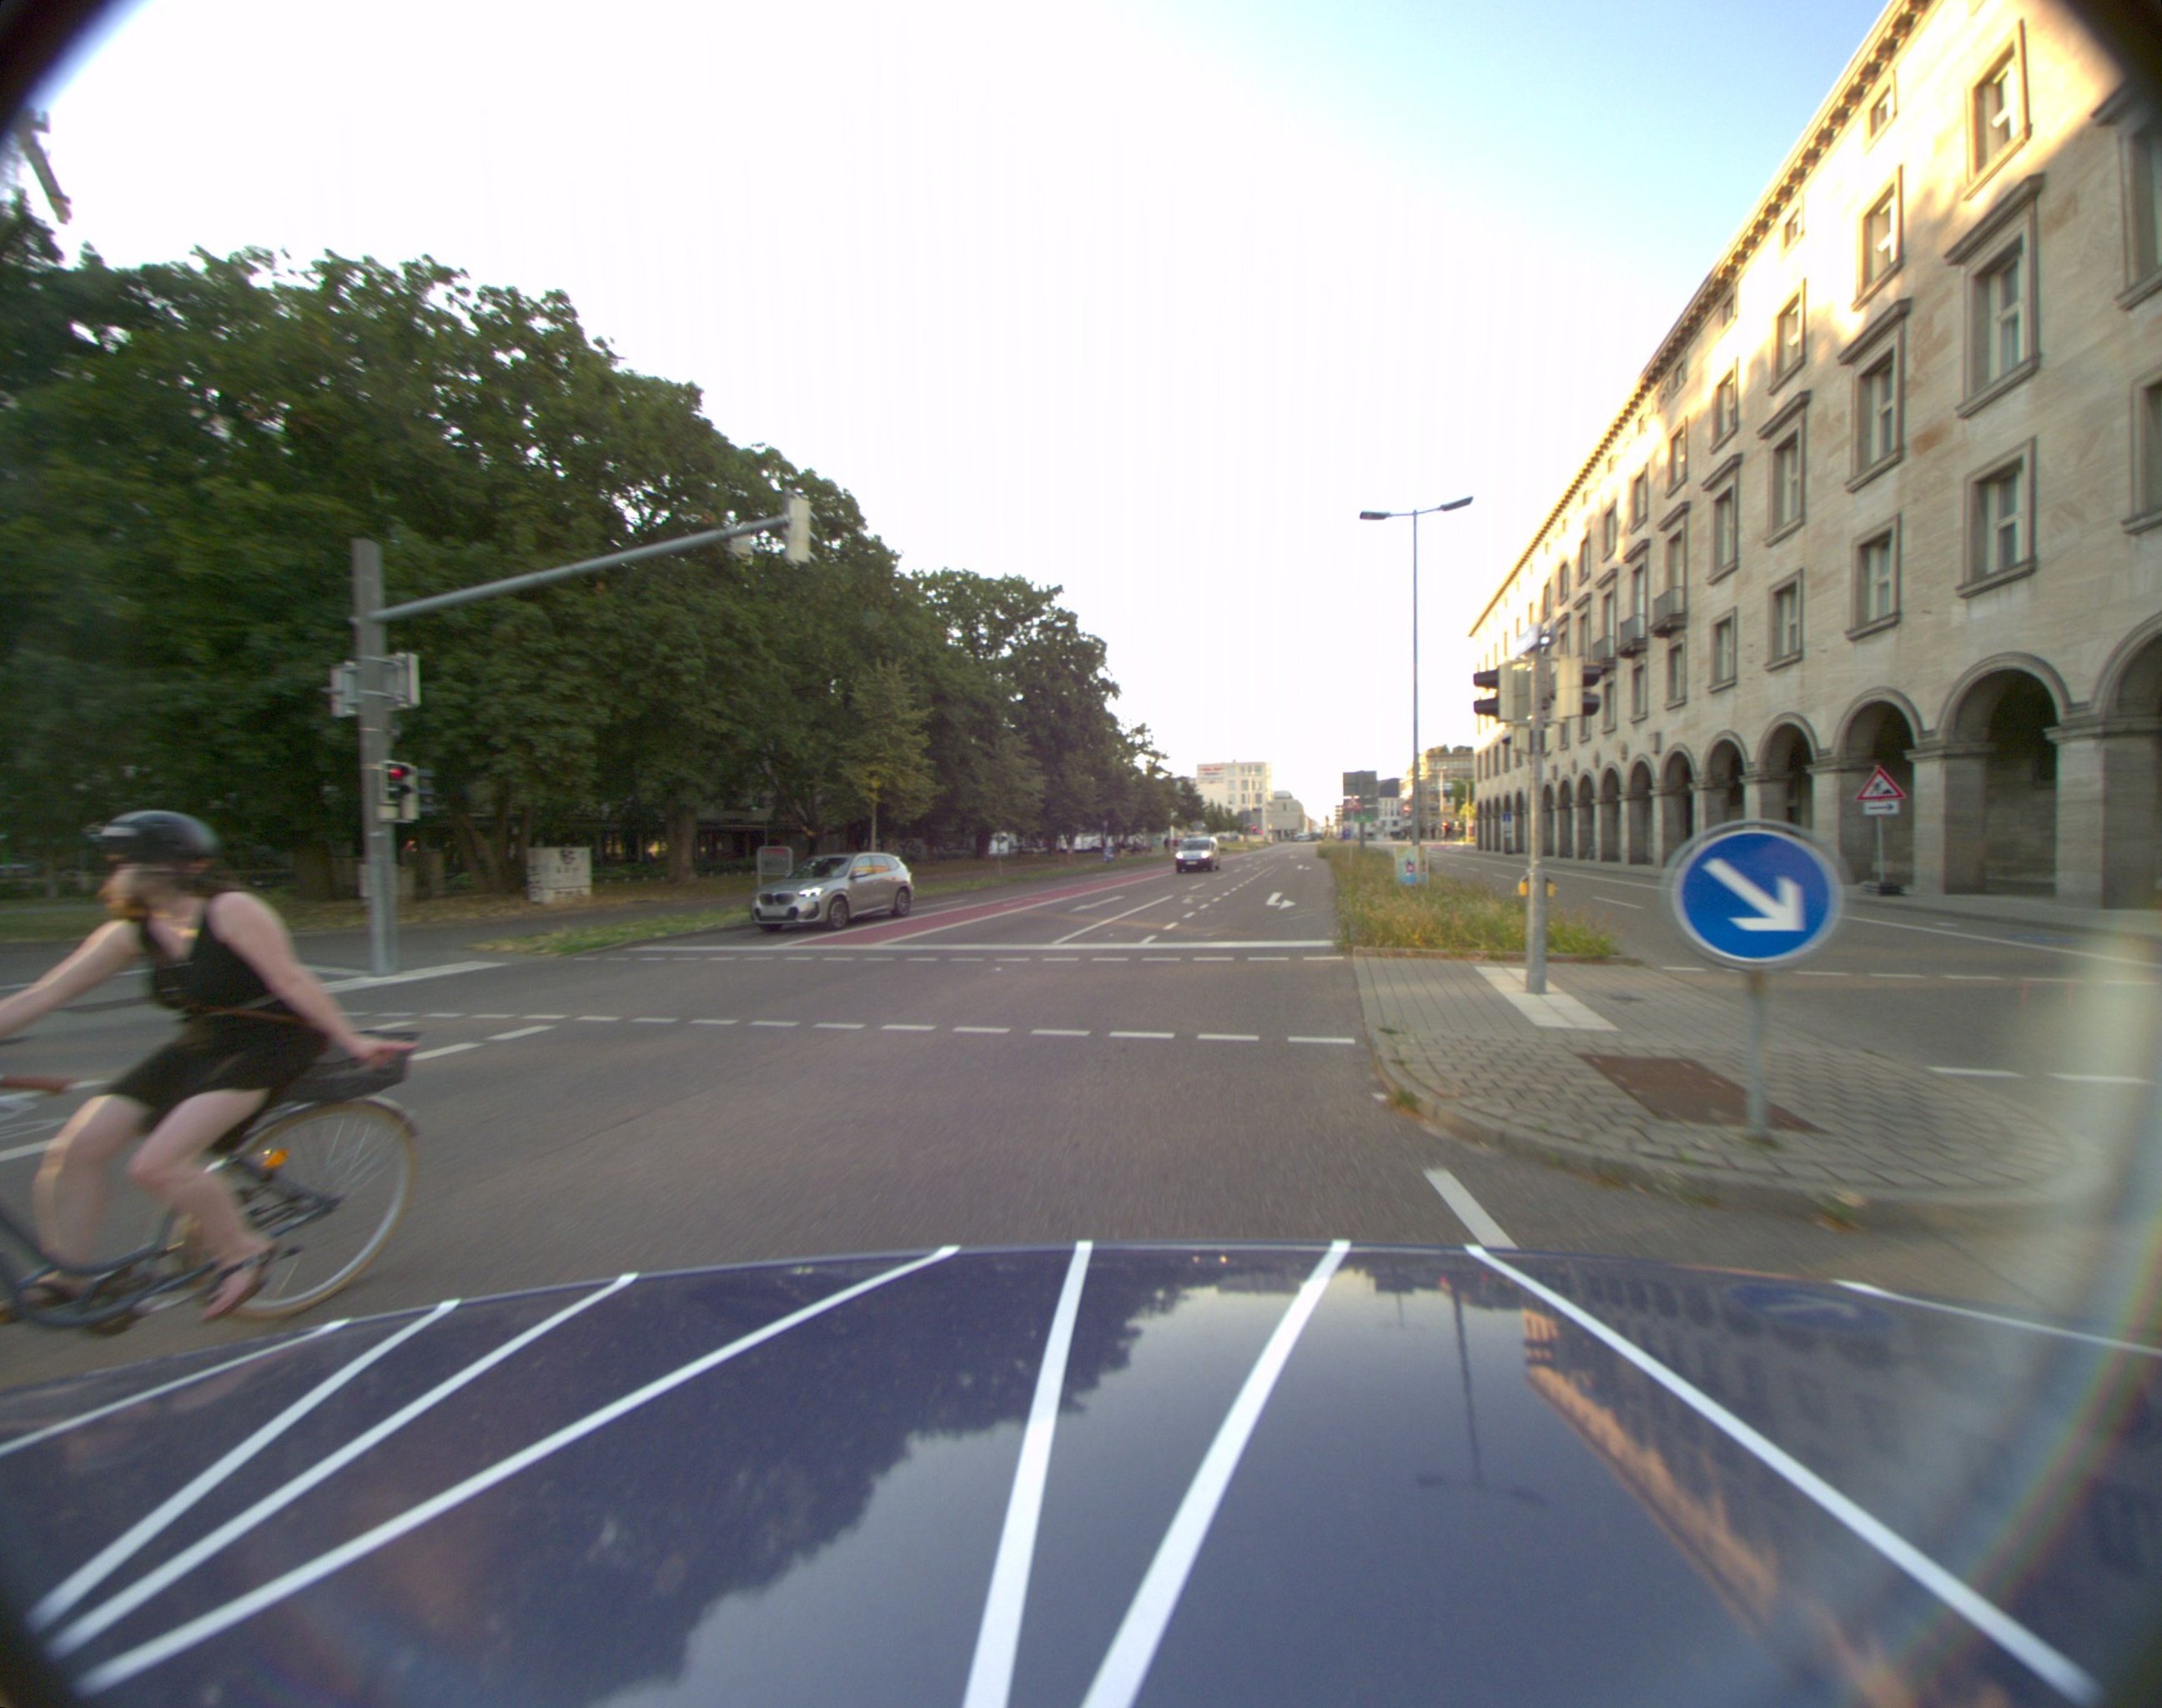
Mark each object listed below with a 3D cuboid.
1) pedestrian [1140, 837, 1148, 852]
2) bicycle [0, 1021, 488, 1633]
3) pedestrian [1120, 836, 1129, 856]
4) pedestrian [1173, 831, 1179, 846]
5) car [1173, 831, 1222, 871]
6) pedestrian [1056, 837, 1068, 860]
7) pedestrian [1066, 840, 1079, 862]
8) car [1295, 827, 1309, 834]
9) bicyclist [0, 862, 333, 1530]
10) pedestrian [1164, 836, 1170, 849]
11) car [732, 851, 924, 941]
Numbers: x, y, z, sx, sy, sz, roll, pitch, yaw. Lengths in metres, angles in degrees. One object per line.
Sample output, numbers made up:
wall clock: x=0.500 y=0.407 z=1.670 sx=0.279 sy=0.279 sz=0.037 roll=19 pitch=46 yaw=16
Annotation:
pedestrian: x=6.093 y=-0.887 z=73.162 sx=0.630 sy=1.455 sz=0.647 roll=0 pitch=2 yaw=20
bicycle: x=-2.786 y=1.245 z=2.003 sx=0.609 sy=1.108 sz=2.087 roll=-1 pitch=1 yaw=6
pedestrian: x=3.752 y=-0.697 z=65.326 sx=0.630 sy=1.653 sz=0.647 roll=0 pitch=2 yaw=22
pedestrian: x=10.849 y=-1.752 z=86.771 sx=0.631 sy=1.656 sz=0.646 roll=-1 pitch=2 yaw=5
car: x=5.962 y=-0.196 z=38.547 sx=1.802 sy=1.900 sz=4.470 roll=-1 pitch=2 yaw=17
pedestrian: x=-1.372 y=-0.404 z=54.710 sx=0.644 sy=1.585 sz=0.678 roll=0 pitch=2 yaw=21
pedestrian: x=-0.617 y=-0.216 z=54.380 sx=0.676 sy=1.488 sz=0.647 roll=0 pitch=2 yaw=19
car: x=64.450 y=-6.812 z=221.449 sx=1.995 sy=2.001 sz=4.008 roll=-6 pitch=-2 yaw=44
bicyclist: x=-2.776 y=0.852 z=2.172 sx=0.609 sy=1.626 sz=0.597 roll=-1 pitch=2 yaw=6
pedestrian: x=9.166 y=-1.213 z=80.945 sx=0.631 sy=1.387 sz=0.646 roll=-1 pitch=2 yaw=5
car: x=-5.490 y=0.826 z=17.162 sx=1.883 sy=1.654 sz=4.350 roll=-1 pitch=1 yaw=17
